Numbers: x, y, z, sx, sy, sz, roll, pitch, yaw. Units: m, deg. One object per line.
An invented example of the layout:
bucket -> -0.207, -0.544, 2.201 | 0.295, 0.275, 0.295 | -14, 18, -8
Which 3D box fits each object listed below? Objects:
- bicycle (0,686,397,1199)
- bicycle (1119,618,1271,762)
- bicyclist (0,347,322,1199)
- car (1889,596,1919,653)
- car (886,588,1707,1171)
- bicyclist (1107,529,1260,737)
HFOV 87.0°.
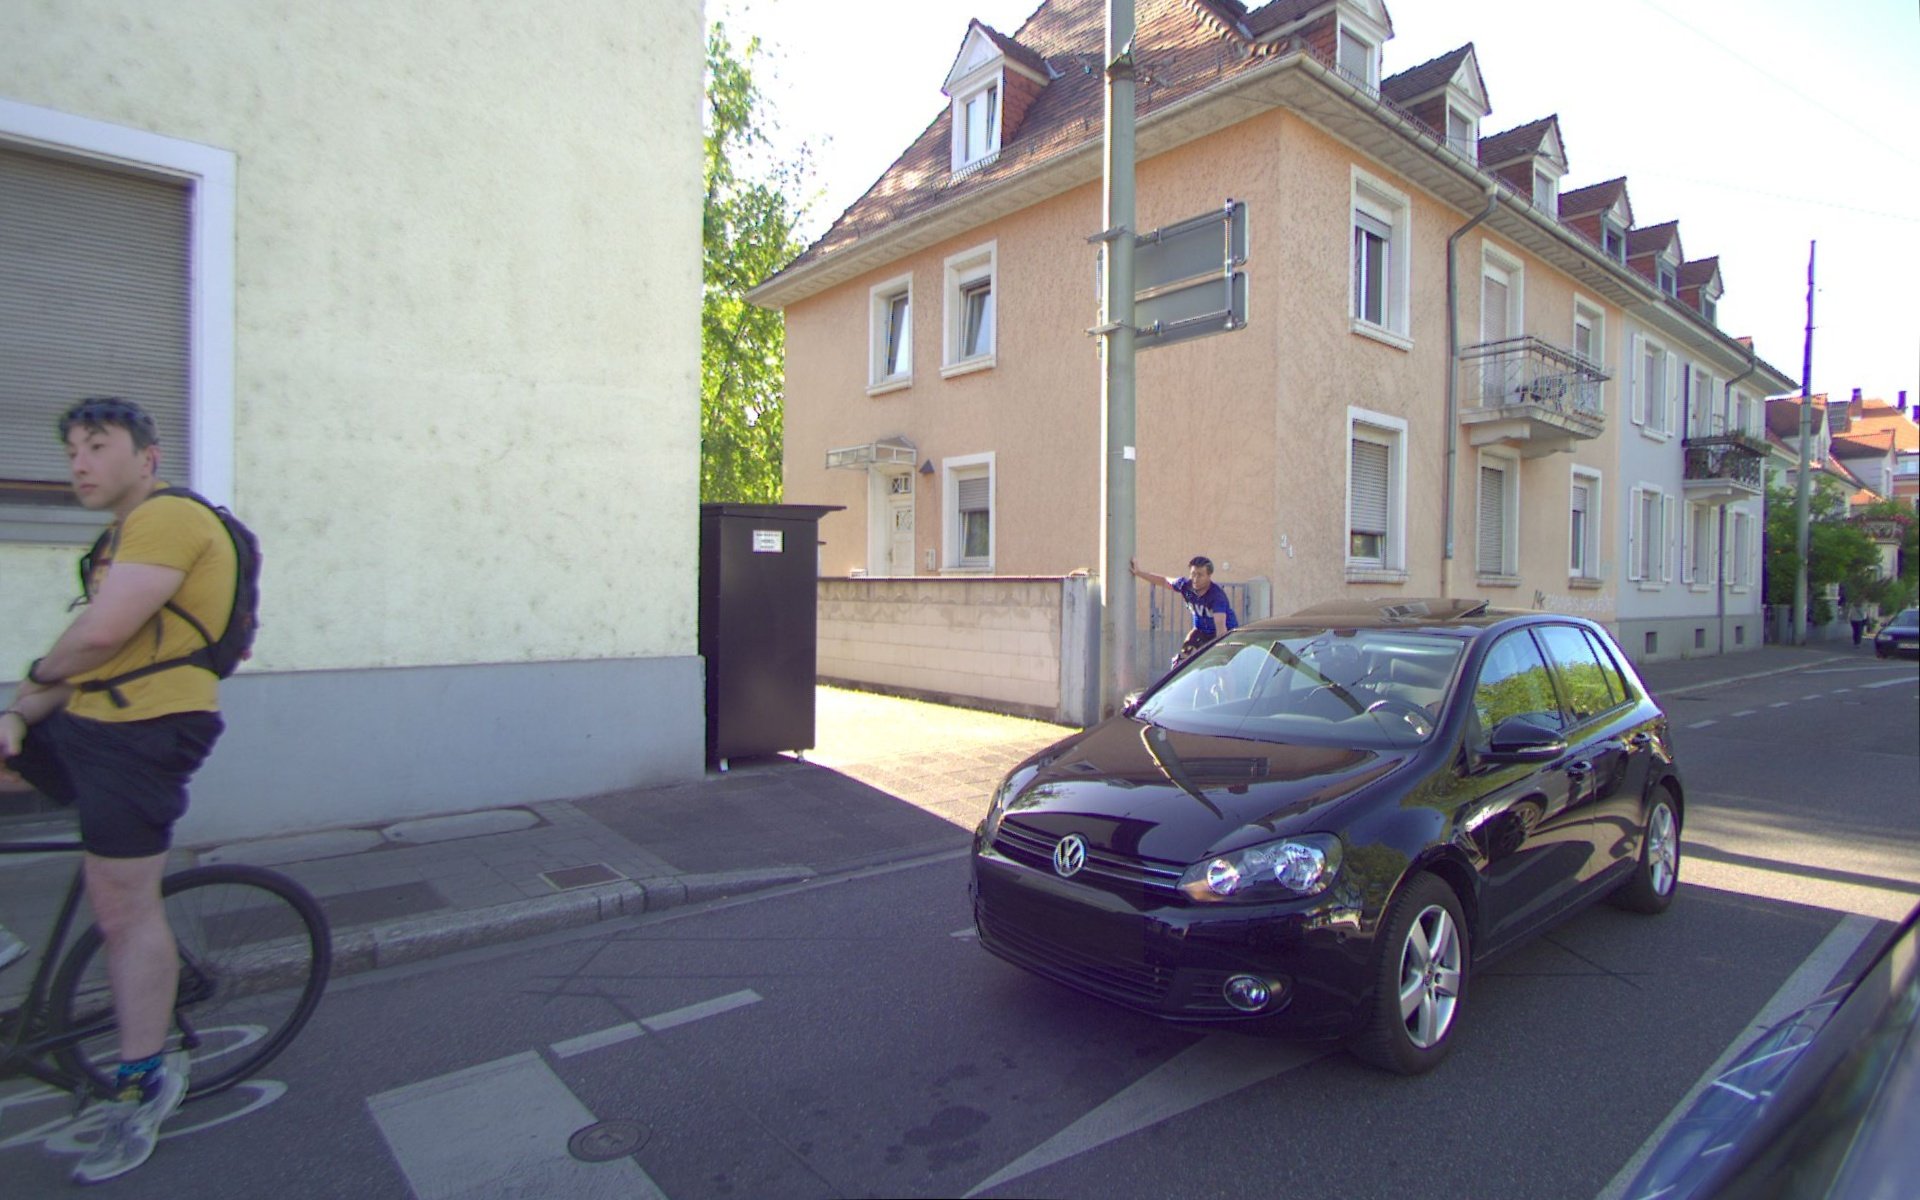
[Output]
bicycle -> -2.513, 0.865, 2.583 | 0.777, 1.120, 1.720 | 0, 0, 36
bicycle -> 2.118, 0.749, 8.988 | 0.554, 1.088, 1.601 | 6, 4, 42
bicyclist -> -2.316, 0.422, 2.730 | 0.777, 1.991, 0.768 | 0, 0, 36
car -> 26.764, 0.625, 27.436 | 4.258, 1.448, 1.824 | -1, 0, -40
car -> 1.752, 0.686, 4.498 | 3.921, 1.456, 1.716 | -1, 0, -41
bicyclist -> 2.001, 0.254, 9.093 | 1.018, 1.714, 0.718 | 6, 4, 42
